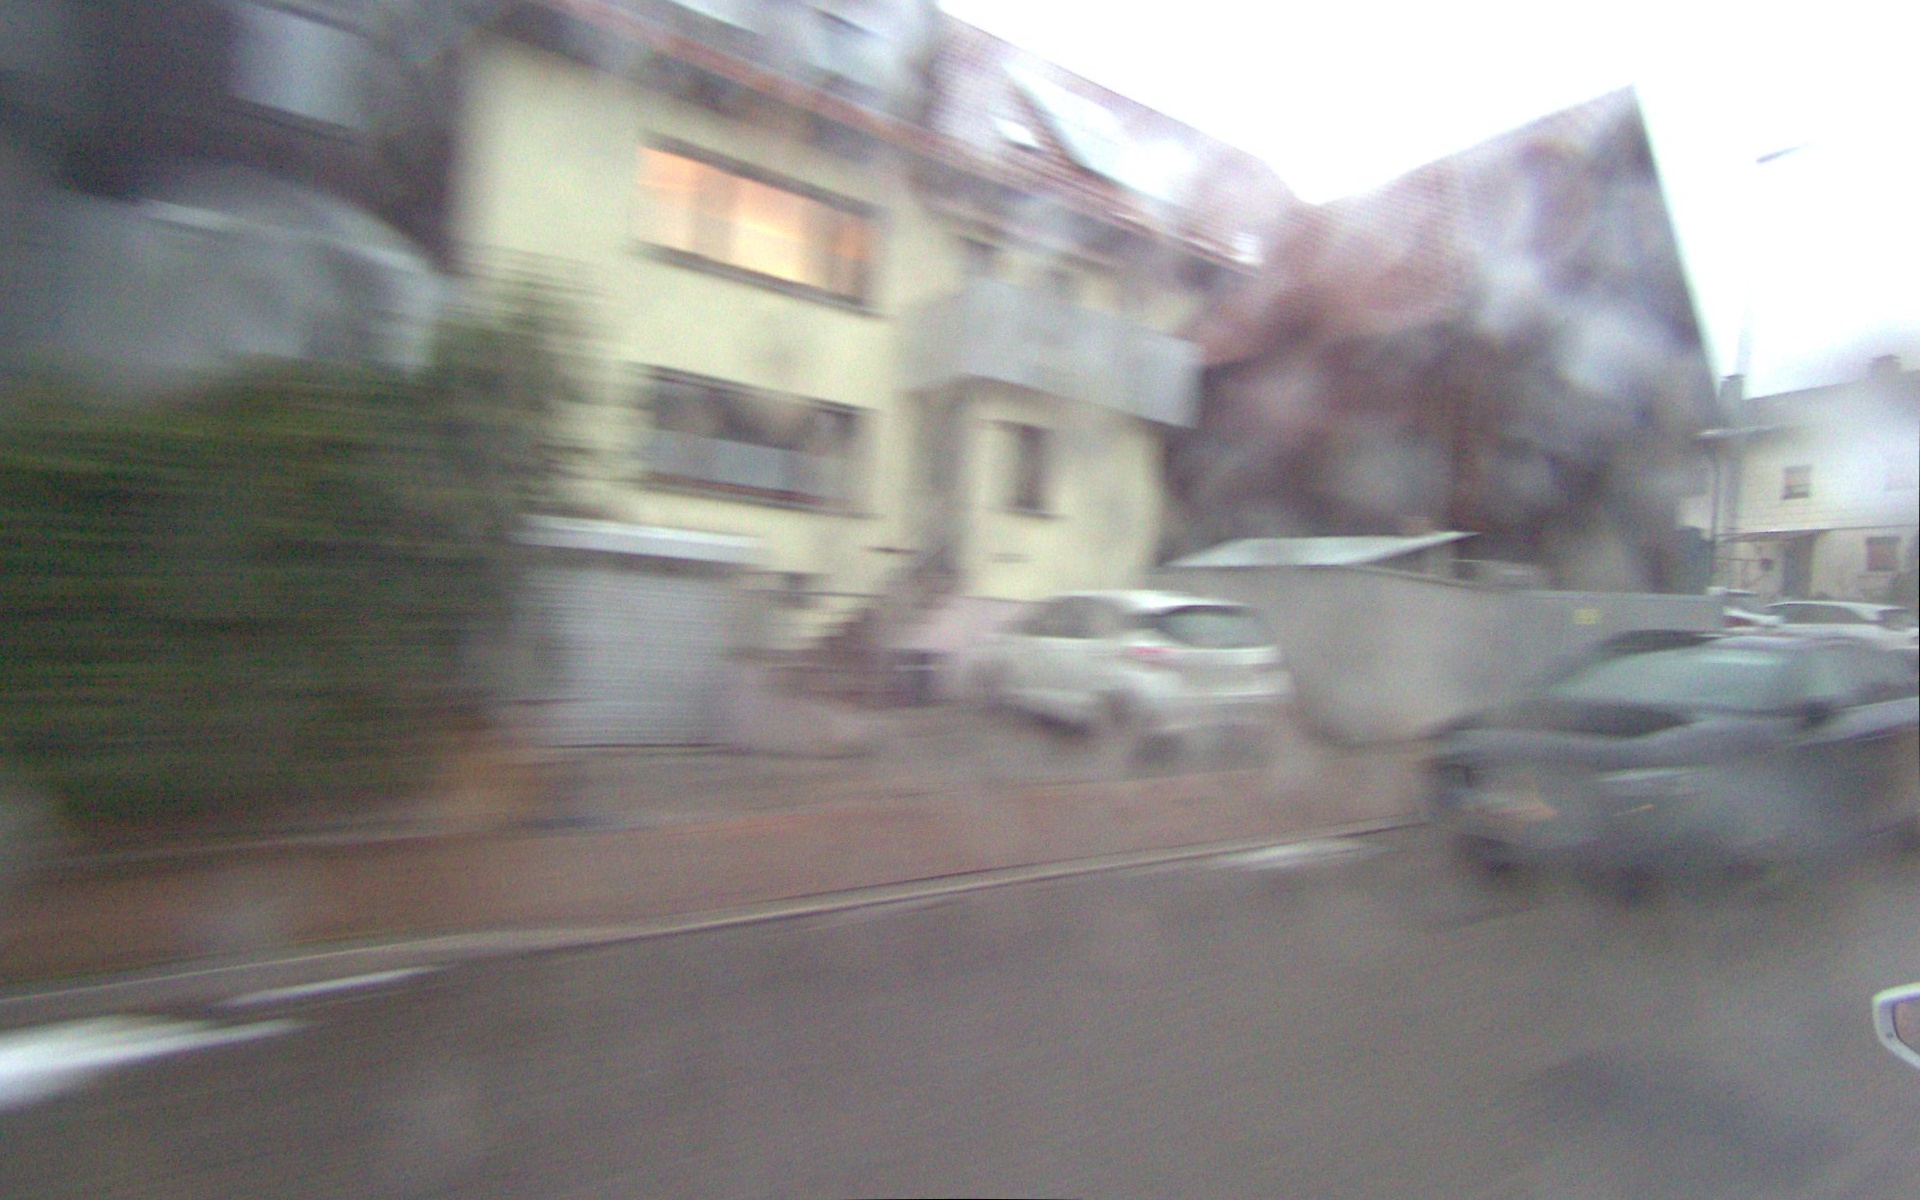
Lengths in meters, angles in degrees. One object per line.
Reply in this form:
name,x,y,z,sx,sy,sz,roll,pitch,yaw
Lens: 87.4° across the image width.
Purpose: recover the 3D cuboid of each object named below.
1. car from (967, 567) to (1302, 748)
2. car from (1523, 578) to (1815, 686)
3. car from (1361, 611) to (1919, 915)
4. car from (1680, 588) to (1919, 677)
car,1.635,0.472,10.537,1.750,1.548,3.452,2,1,-26
car,13.075,0.511,18.809,1.974,1.770,3.973,2,1,-26
car,5.174,0.861,6.827,5.016,1.413,1.868,2,-1,-31
car,18.031,0.617,21.377,1.863,1.639,3.973,2,1,-26
